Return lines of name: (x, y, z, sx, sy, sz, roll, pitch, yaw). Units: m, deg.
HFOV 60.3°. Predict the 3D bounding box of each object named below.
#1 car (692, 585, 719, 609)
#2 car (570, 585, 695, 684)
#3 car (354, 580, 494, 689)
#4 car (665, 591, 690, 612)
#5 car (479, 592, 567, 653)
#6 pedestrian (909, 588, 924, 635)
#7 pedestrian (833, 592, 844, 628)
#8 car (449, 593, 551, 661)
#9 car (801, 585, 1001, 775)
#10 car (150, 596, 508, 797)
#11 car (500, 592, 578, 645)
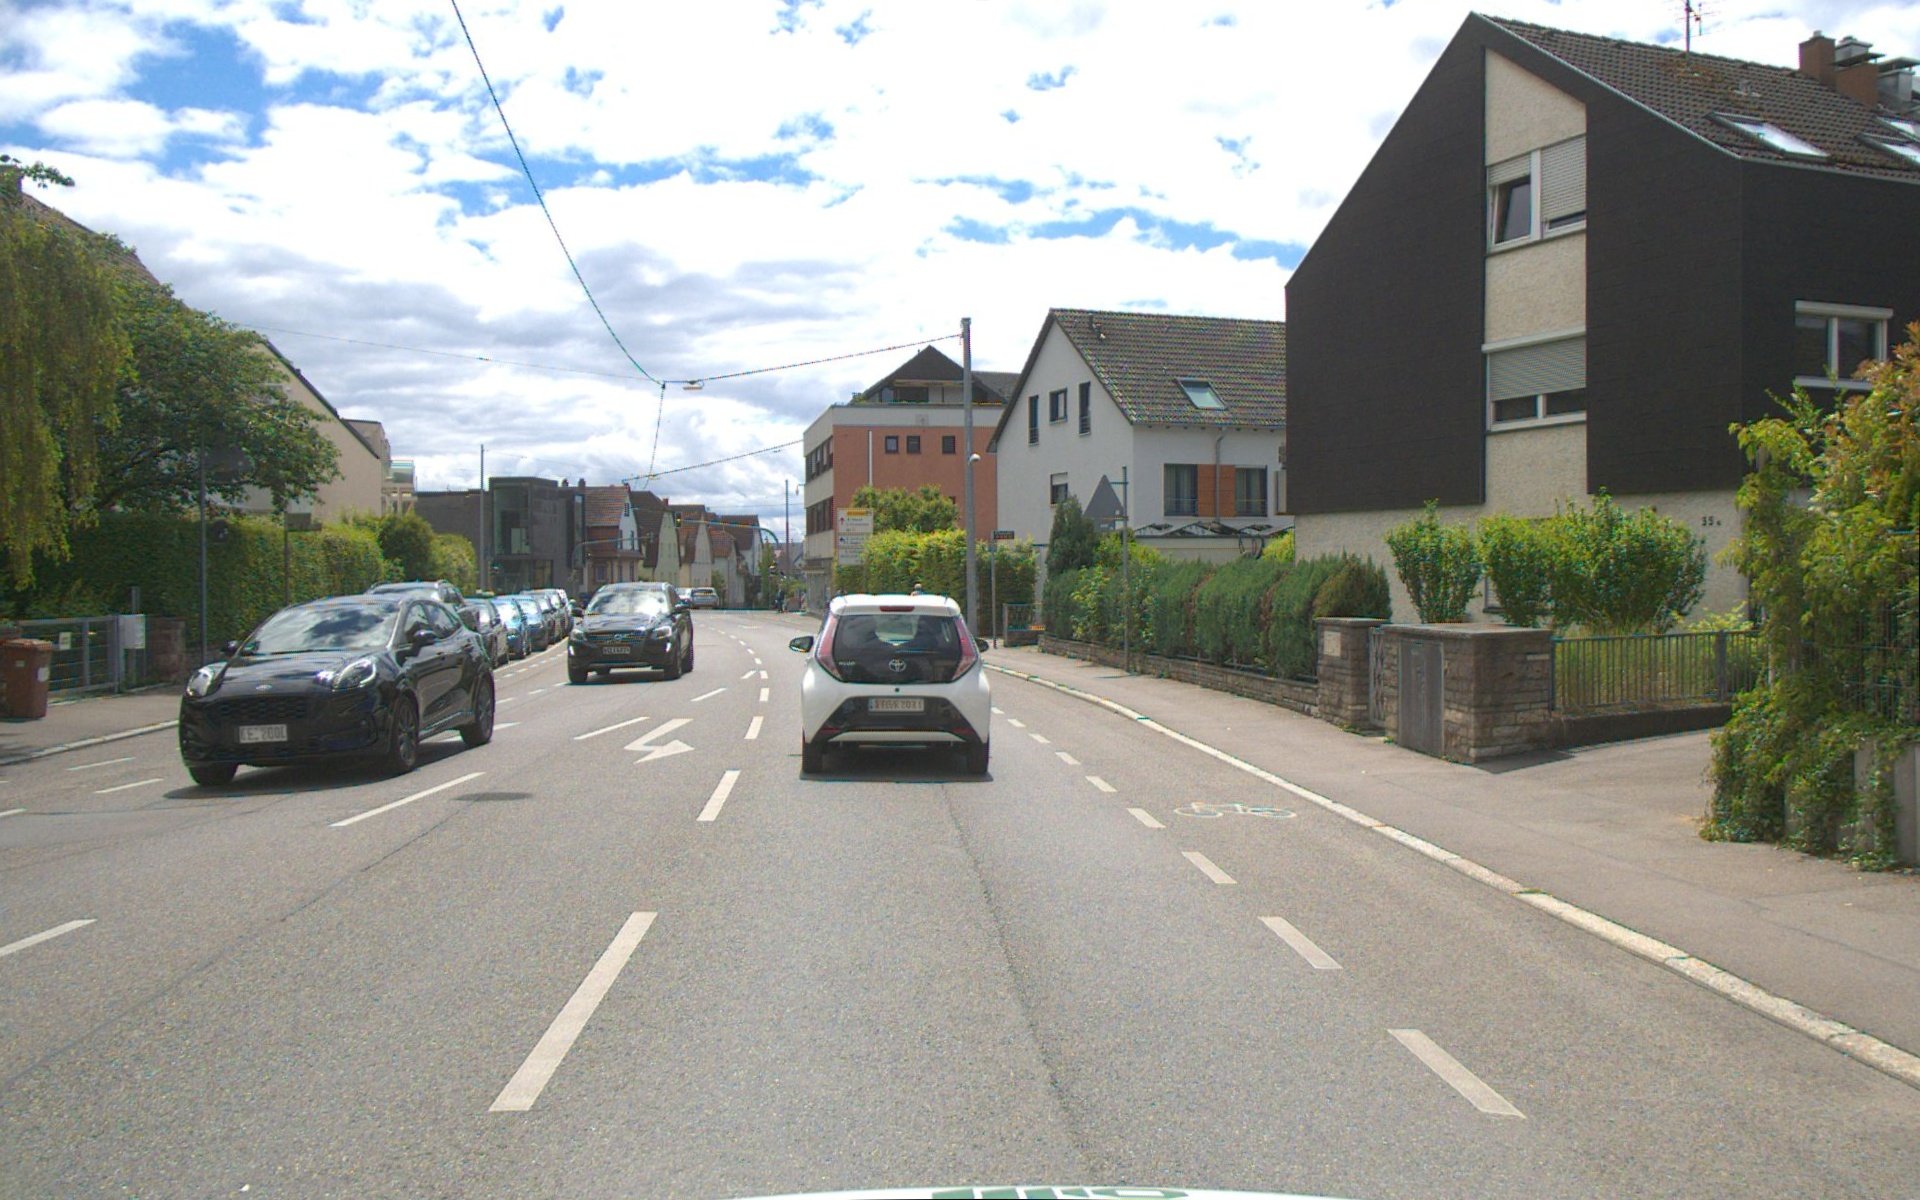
car: (-19.060, -0.240, 123.862, 1.957, 1.713, 3.991, 1, 0, -9)
car: (-5.727, 0.561, 29.340, 1.741, 1.579, 4.004, -2, 0, -6)
car: (-10.075, 0.604, 31.366, 1.741, 1.878, 4.002, -2, 0, -7)
car: (-23.726, 0.137, 139.060, 1.956, 1.713, 3.993, 1, 0, -8)
car: (-12.089, 0.592, 46.011, 1.760, 1.536, 3.995, 2, 0, -7)
pedestrian: (-1.364, 0.358, 51.596, 0.406, 1.463, 0.436, 0, 0, -13)
pedestrian: (-4.887, 0.393, 66.428, 0.405, 1.463, 0.437, 0, 0, -9)
car: (-11.325, 0.640, 40.949, 1.760, 1.536, 3.995, 2, 0, -6)
car: (-0.657, 0.653, 15.275, 1.589, 1.512, 3.995, 1, 0, -6)
car: (-5.512, 0.752, 15.016, 1.739, 1.455, 4.007, -4, 0, -2)
car: (-13.033, 0.540, 51.386, 1.760, 1.536, 3.995, 2, 0, -7)
